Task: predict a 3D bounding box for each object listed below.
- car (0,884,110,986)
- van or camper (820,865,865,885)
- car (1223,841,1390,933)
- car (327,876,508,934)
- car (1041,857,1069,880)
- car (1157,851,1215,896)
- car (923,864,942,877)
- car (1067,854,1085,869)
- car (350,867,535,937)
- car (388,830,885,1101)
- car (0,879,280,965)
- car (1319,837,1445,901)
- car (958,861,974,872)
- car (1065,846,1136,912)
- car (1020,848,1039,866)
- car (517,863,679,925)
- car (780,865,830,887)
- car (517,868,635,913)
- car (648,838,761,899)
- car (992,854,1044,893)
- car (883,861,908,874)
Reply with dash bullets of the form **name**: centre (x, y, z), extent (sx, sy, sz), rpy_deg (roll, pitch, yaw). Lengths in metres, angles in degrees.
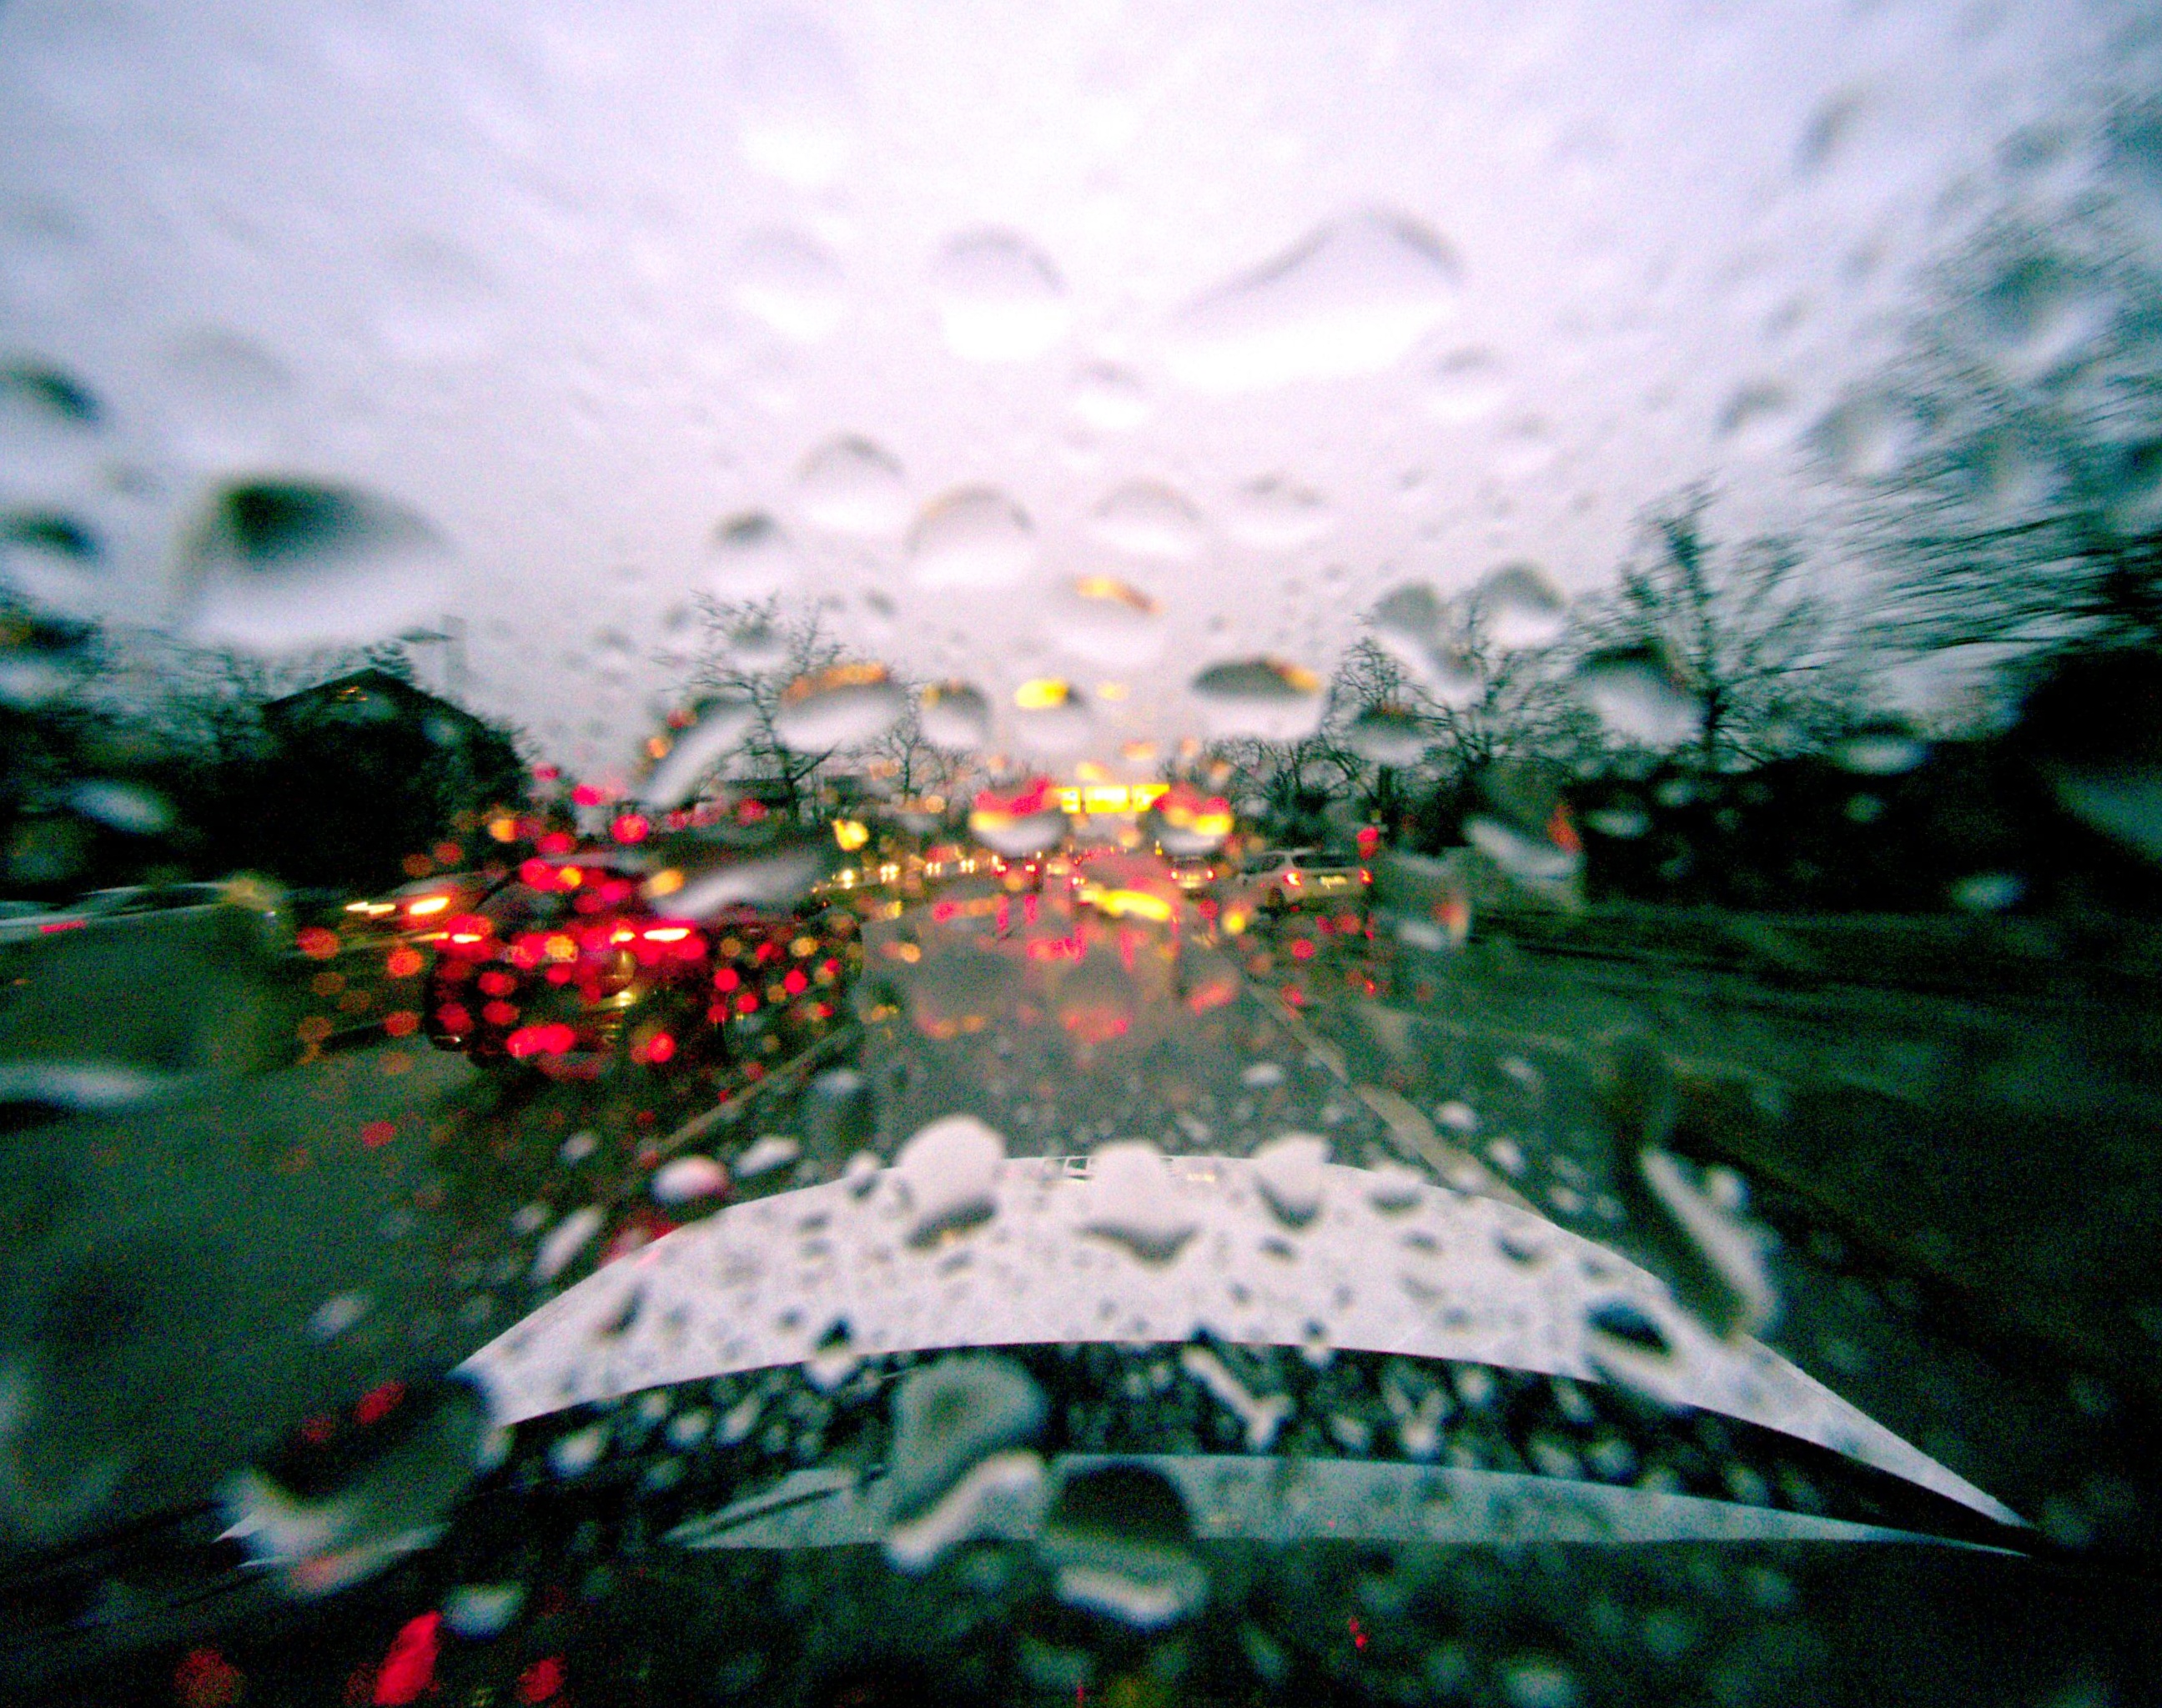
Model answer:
- **car**: centre (-17.690, 1.318, 11.772), extent (1.763, 1.533, 4.526), rpy_deg (-2, 0, 1)
- **van or camper**: centre (-19.029, 1.660, 65.319), extent (1.897, 1.446, 5.161), rpy_deg (-1, 0, 2)
- **car**: centre (4.536, 0.623, 17.129), extent (1.814, 1.618, 4.400), rpy_deg (-2, 0, -7)
- **car**: centre (-20.651, 1.526, 25.668), extent (1.763, 1.489, 4.651), rpy_deg (-2, 0, 1)
- **car**: centre (-1.932, 1.058, 61.548), extent (1.815, 1.648, 4.003), rpy_deg (-2, 0, 3)
- **car**: centre (4.094, 0.762, 32.399), extent (1.925, 1.648, 4.469), rpy_deg (-1, -1, 3)
- **car**: centre (-23.546, 2.577, 129.084), extent (1.985, 1.851, 4.430), rpy_deg (-1, 0, 3)
- **car**: centre (-0.487, 0.688, 78.859), extent (1.499, 1.339, 4.003), rpy_deg (-2, 0, 3)
- **car**: centre (-17.256, 1.229, 22.301), extent (1.763, 1.586, 4.034), rpy_deg (-2, 0, 1)
- **car**: centre (-3.339, 0.715, 7.346), extent (1.815, 1.648, 4.469), rpy_deg (-2, 0, 3)
- **car**: centre (-20.856, 1.407, 18.014), extent (1.763, 1.495, 4.441), rpy_deg (-2, 0, 1)
- **car**: centre (8.766, 0.421, 24.163), extent (1.961, 1.619, 4.546), rpy_deg (-3, 0, -1)
- **car**: centre (-17.167, 1.882, 121.620), extent (1.779, 1.627, 3.575), rpy_deg (-1, 0, 1)
- **car**: centre (0.612, 0.659, 23.490), extent (1.815, 1.648, 4.469), rpy_deg (-2, 0, 3)
- **car**: centre (-5.752, 0.346, 91.008), extent (1.731, 2.014, 4.001), rpy_deg (-1, -1, 2)
- **car**: centre (-14.053, 1.083, 24.086), extent (1.763, 1.536, 4.842), rpy_deg (-2, 0, 1)
- **car**: centre (-19.505, 1.553, 57.784), extent (1.897, 1.446, 4.444), rpy_deg (-1, 0, 2)
- **car**: centre (-20.295, 1.411, 32.993), extent (1.762, 1.536, 4.450), rpy_deg (-2, 0, 3)
- **car**: centre (-19.983, 0.765, 43.739), extent (2.282, 3.005, 7.353), rpy_deg (-1, -1, 3)
- **car**: centre (-2.813, 0.852, 37.192), extent (1.815, 1.648, 4.003), rpy_deg (-2, 0, 3)
- **car**: centre (-23.571, 1.724, 103.397), extent (1.985, 1.477, 4.076), rpy_deg (-1, 0, 3)
